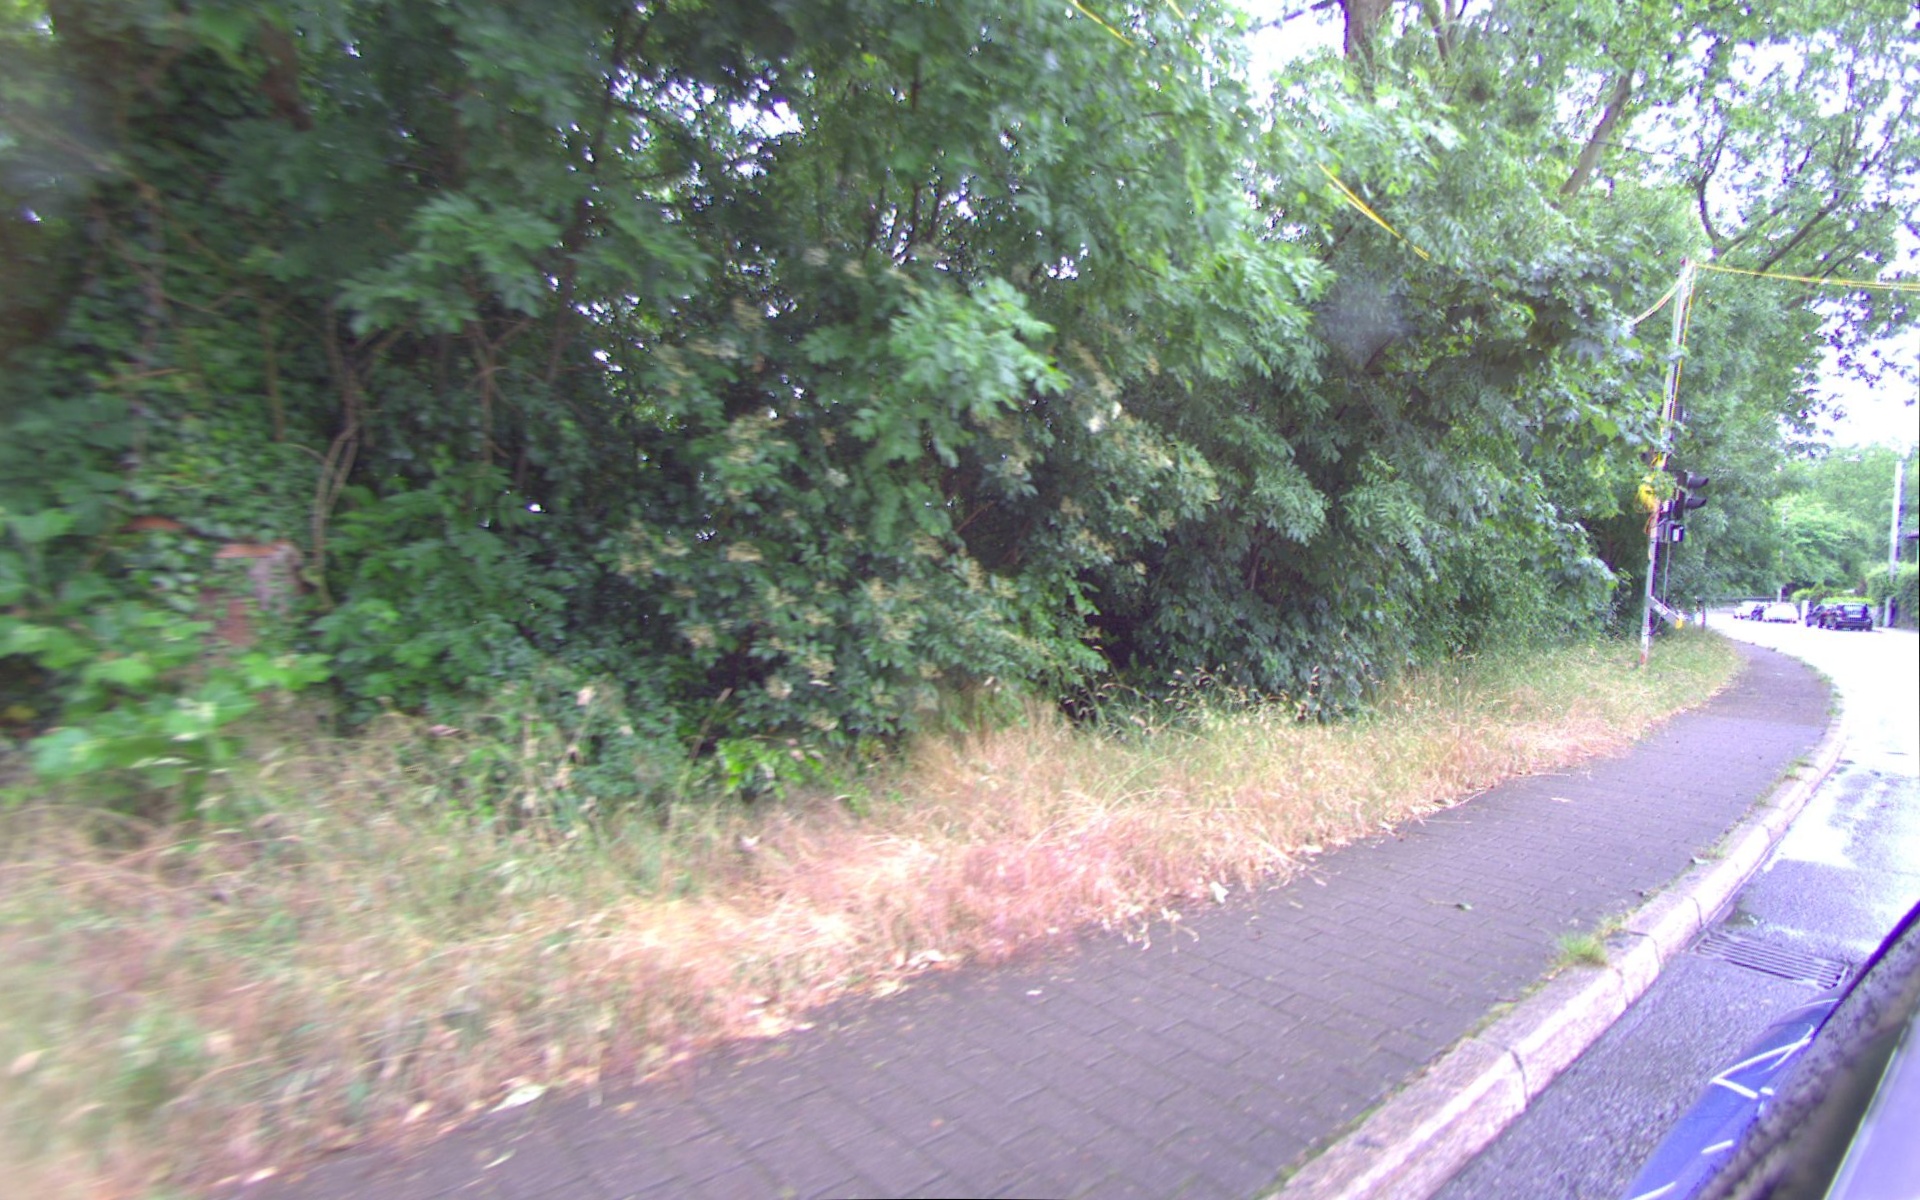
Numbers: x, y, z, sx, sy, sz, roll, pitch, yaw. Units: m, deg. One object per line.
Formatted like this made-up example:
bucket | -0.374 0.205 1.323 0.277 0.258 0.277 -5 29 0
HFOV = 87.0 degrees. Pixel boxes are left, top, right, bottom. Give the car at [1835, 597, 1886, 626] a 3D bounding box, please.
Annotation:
car | 50.569 0.617 56.877 1.512 1.472 2.996 4 2 31

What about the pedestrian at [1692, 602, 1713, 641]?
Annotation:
pedestrian | 32.069 0.934 43.717 0.638 1.631 0.663 2 2 30

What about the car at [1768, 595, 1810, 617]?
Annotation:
car | 59.938 0.432 73.213 1.689 1.486 3.674 2 1 29

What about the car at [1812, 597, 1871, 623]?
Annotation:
car | 52.687 0.579 60.575 1.678 1.435 4.174 4 2 28

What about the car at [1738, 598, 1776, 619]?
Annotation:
car | 64.835 0.698 82.383 1.723 1.439 4.241 -3 1 29
